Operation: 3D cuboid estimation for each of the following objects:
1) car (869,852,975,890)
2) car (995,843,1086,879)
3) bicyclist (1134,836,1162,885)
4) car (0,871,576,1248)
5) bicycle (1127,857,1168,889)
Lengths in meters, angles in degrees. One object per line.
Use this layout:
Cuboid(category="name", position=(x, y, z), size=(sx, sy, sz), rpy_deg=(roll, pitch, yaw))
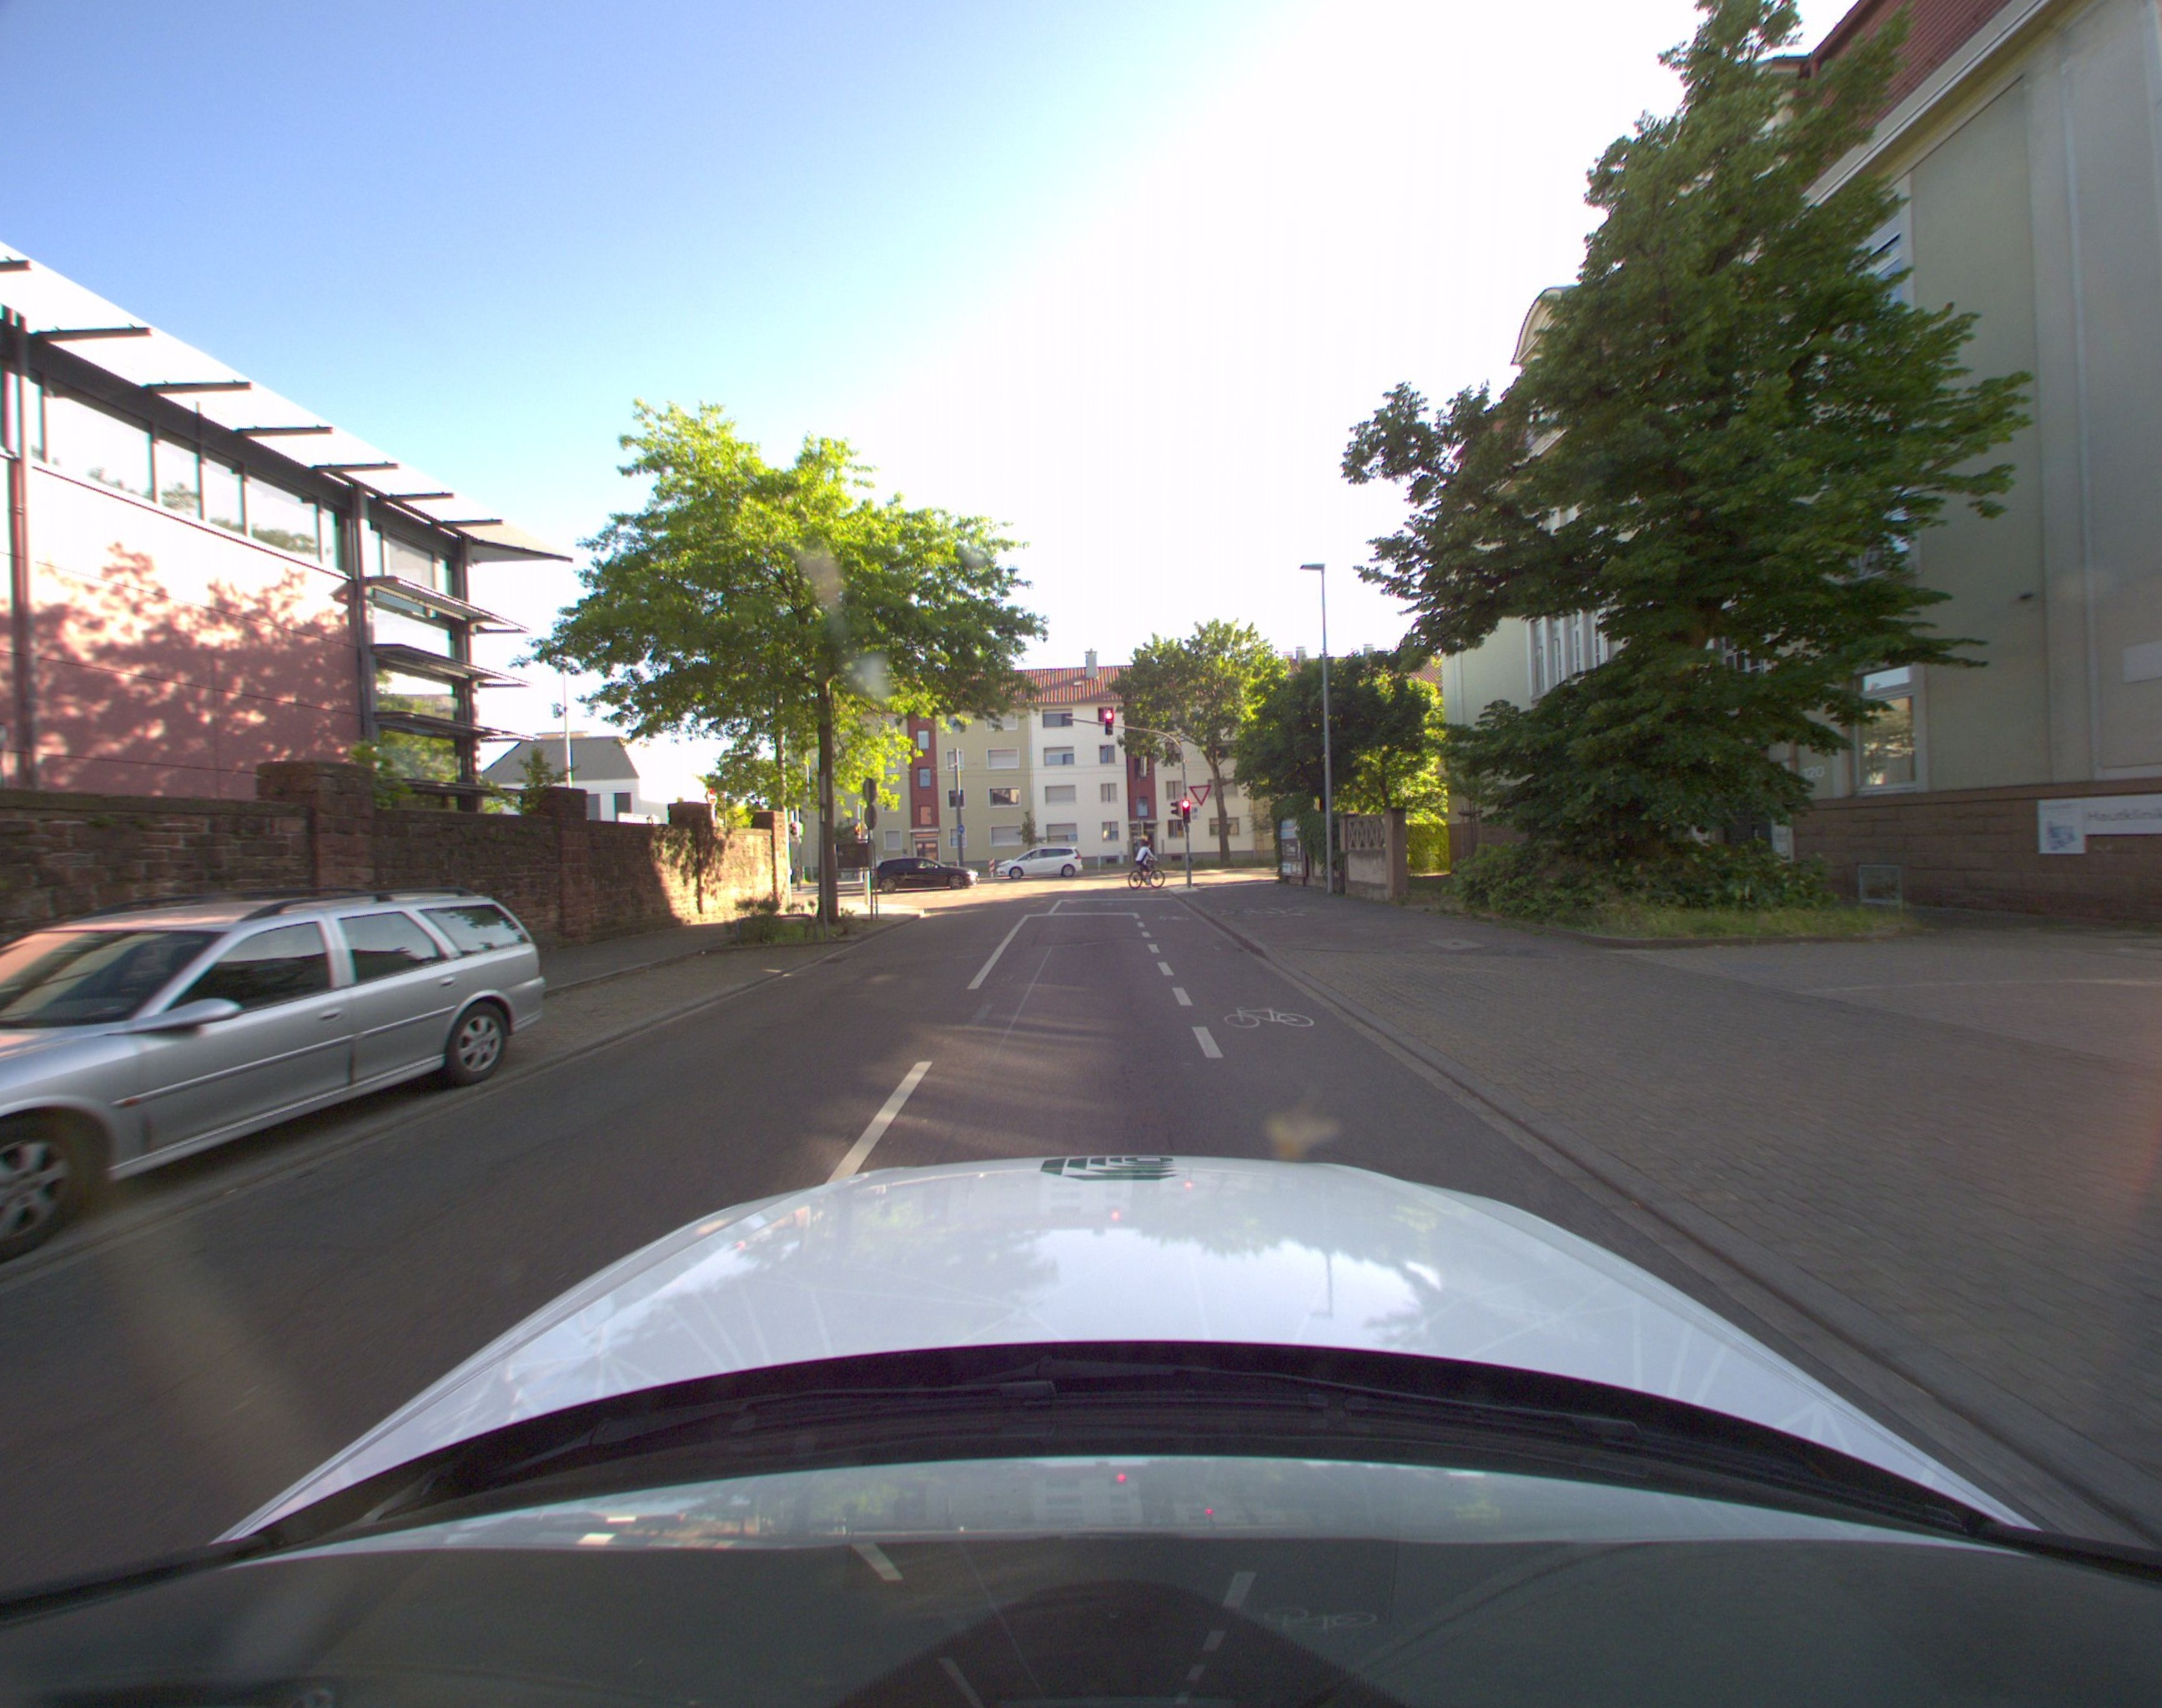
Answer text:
Cuboid(category="car", position=(-6.556, 0.688, 33.709), size=(4.196, 1.421, 1.846), rpy_deg=(-1, 1, -12))
Cuboid(category="car", position=(-2.206, 0.349, 43.608), size=(4.661, 1.739, 1.994), rpy_deg=(-2, 0, -10))
Cuboid(category="bicyclist", position=(2.469, 0.246, 29.934), size=(0.793, 1.757, 0.605), rpy_deg=(-2, 0, -41))
Cuboid(category="car", position=(-5.355, 0.904, 4.945), size=(1.720, 1.475, 4.479), rpy_deg=(0, 0, 1))
Cuboid(category="bicycle", position=(2.451, 0.689, 29.906), size=(1.698, 1.080, 0.347), rpy_deg=(-3, 1, -39))
